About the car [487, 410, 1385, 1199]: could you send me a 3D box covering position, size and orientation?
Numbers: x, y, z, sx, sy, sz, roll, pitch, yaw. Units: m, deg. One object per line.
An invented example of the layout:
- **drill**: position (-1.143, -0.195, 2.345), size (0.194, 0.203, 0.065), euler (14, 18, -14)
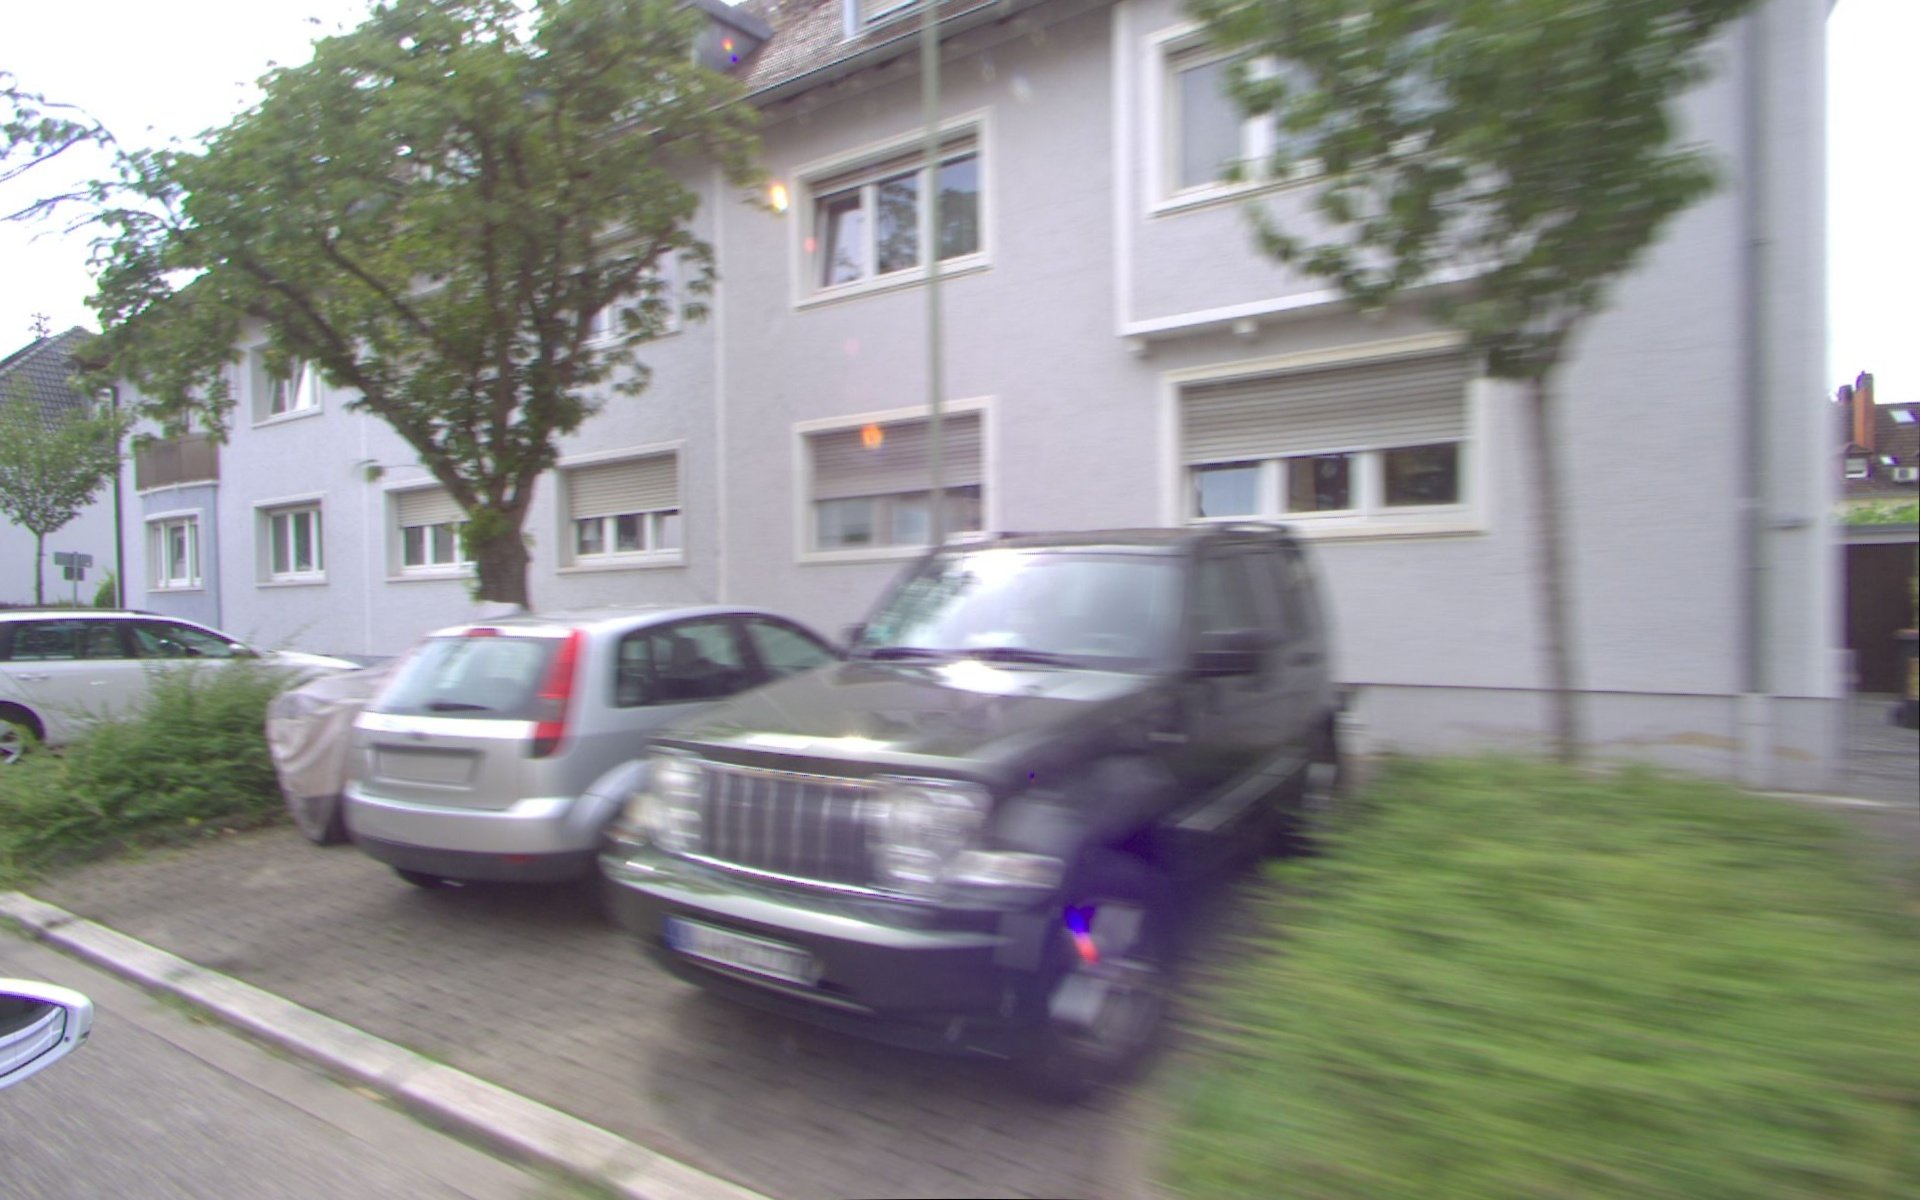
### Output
- **car**: position (0.517, 0.454, 4.570), size (1.768, 1.883, 4.510), euler (0, 2, 34)

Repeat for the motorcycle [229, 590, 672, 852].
- **motorcycle**: position (-3.400, 0.685, 7.101), size (1.015, 1.483, 2.698), euler (0, 0, 28)

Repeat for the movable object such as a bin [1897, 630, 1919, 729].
- **movable object such as a bin**: position (10.379, 0.840, 10.609), size (0.599, 1.023, 0.511), euler (0, 2, 37)

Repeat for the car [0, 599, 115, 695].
- **car**: position (-15.984, 0.797, 15.582), size (1.688, 1.441, 3.977), euler (-1, 2, 32)

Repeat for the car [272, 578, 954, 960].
- **car**: position (-1.672, 0.659, 6.020), size (1.746, 1.474, 3.620), euler (-1, 2, 28)

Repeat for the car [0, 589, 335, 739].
- **car**: position (-10.394, 0.703, 12.539), size (1.688, 1.529, 3.977), euler (-1, 2, 32)

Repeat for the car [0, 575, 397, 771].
- **car**: position (-8.717, 0.649, 10.415), size (1.866, 1.686, 4.602), euler (-1, 2, 33)

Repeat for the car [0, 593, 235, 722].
- **car**: position (-12.326, 0.742, 13.299), size (1.688, 1.529, 3.977), euler (-1, 2, 32)
